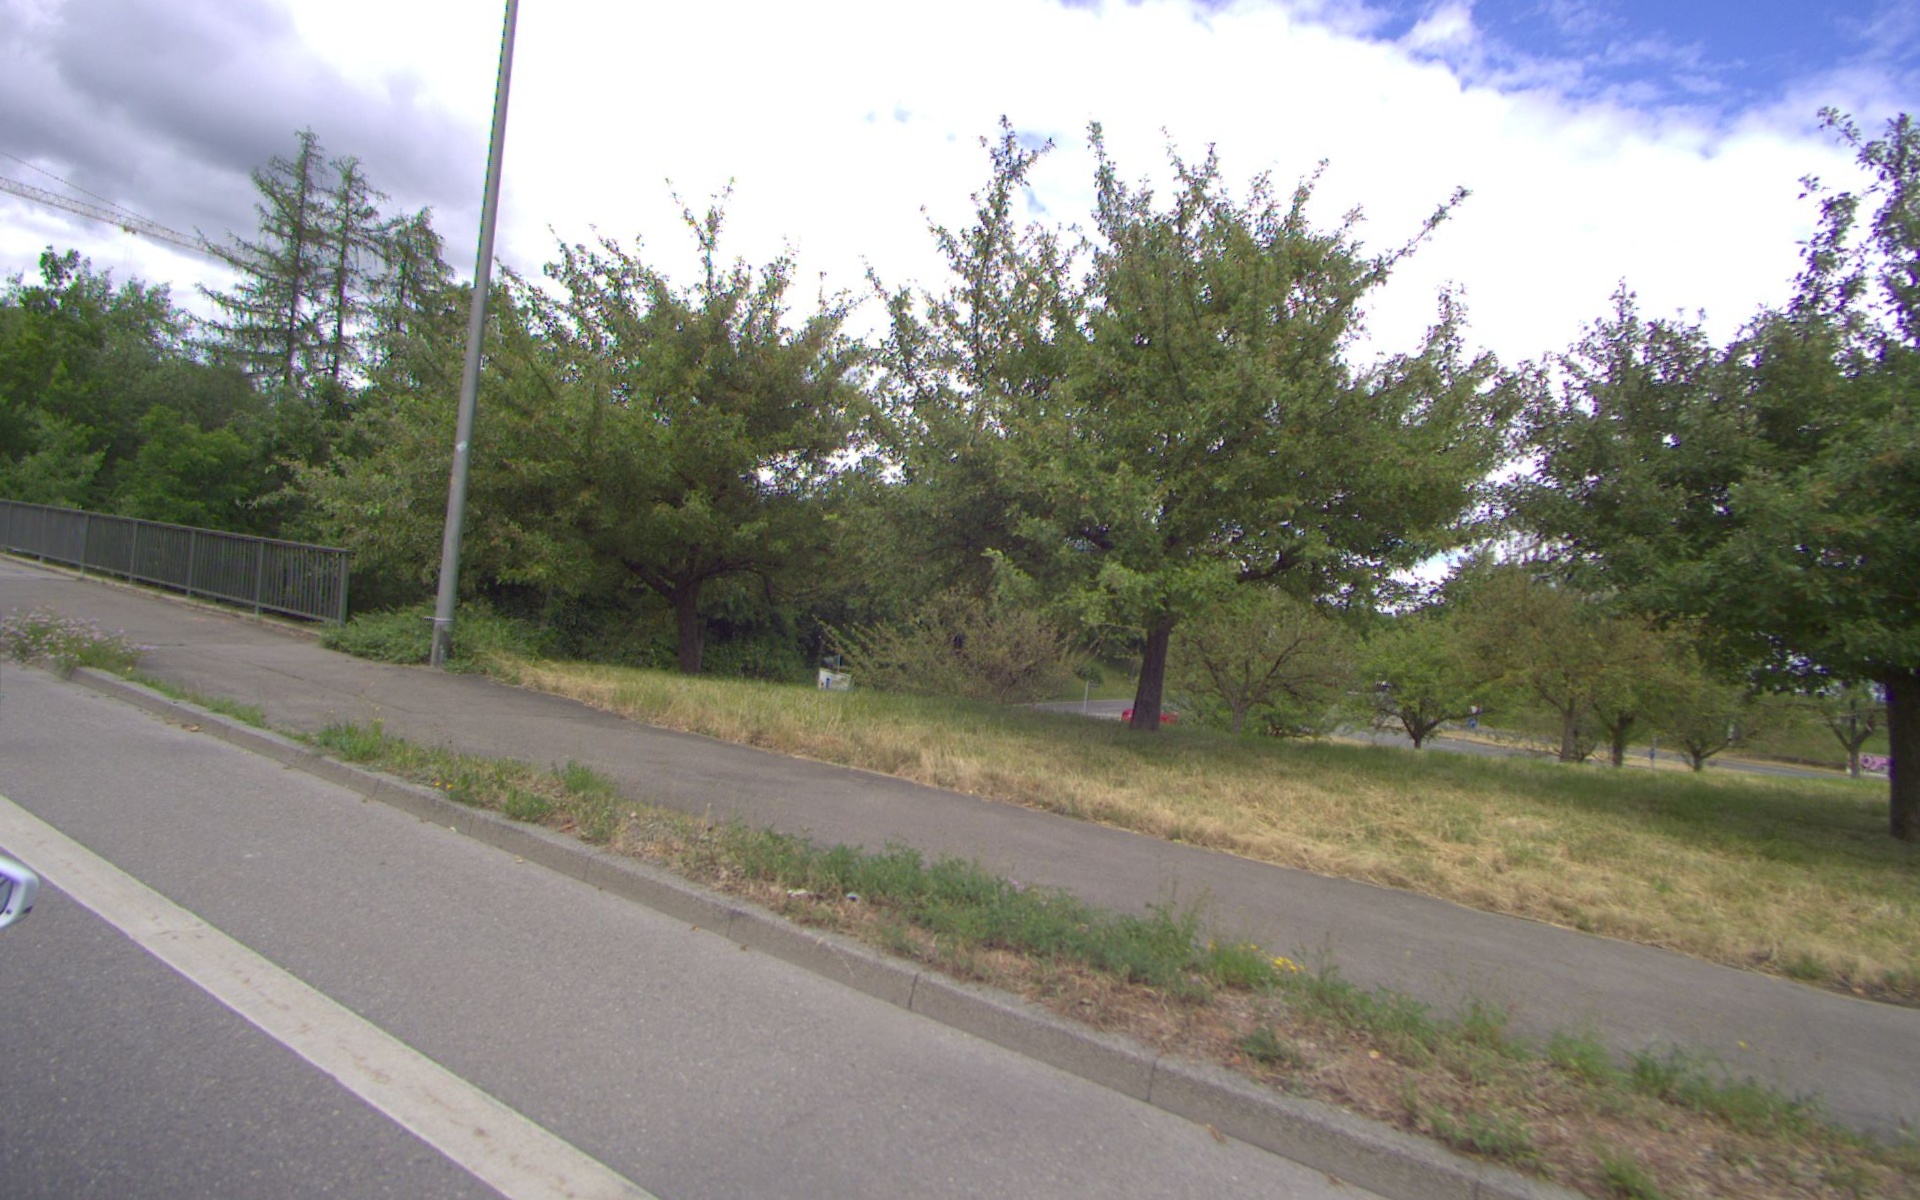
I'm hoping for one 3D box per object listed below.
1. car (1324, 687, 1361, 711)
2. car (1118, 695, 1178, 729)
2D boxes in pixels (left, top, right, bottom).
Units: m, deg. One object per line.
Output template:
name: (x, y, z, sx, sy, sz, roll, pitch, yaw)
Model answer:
car: (31.129, 8.011, 81.830, 1.656, 1.561, 3.839, 8, 3, 38)
car: (10.820, 6.405, 57.826, 1.656, 1.561, 3.839, 8, 3, 38)
